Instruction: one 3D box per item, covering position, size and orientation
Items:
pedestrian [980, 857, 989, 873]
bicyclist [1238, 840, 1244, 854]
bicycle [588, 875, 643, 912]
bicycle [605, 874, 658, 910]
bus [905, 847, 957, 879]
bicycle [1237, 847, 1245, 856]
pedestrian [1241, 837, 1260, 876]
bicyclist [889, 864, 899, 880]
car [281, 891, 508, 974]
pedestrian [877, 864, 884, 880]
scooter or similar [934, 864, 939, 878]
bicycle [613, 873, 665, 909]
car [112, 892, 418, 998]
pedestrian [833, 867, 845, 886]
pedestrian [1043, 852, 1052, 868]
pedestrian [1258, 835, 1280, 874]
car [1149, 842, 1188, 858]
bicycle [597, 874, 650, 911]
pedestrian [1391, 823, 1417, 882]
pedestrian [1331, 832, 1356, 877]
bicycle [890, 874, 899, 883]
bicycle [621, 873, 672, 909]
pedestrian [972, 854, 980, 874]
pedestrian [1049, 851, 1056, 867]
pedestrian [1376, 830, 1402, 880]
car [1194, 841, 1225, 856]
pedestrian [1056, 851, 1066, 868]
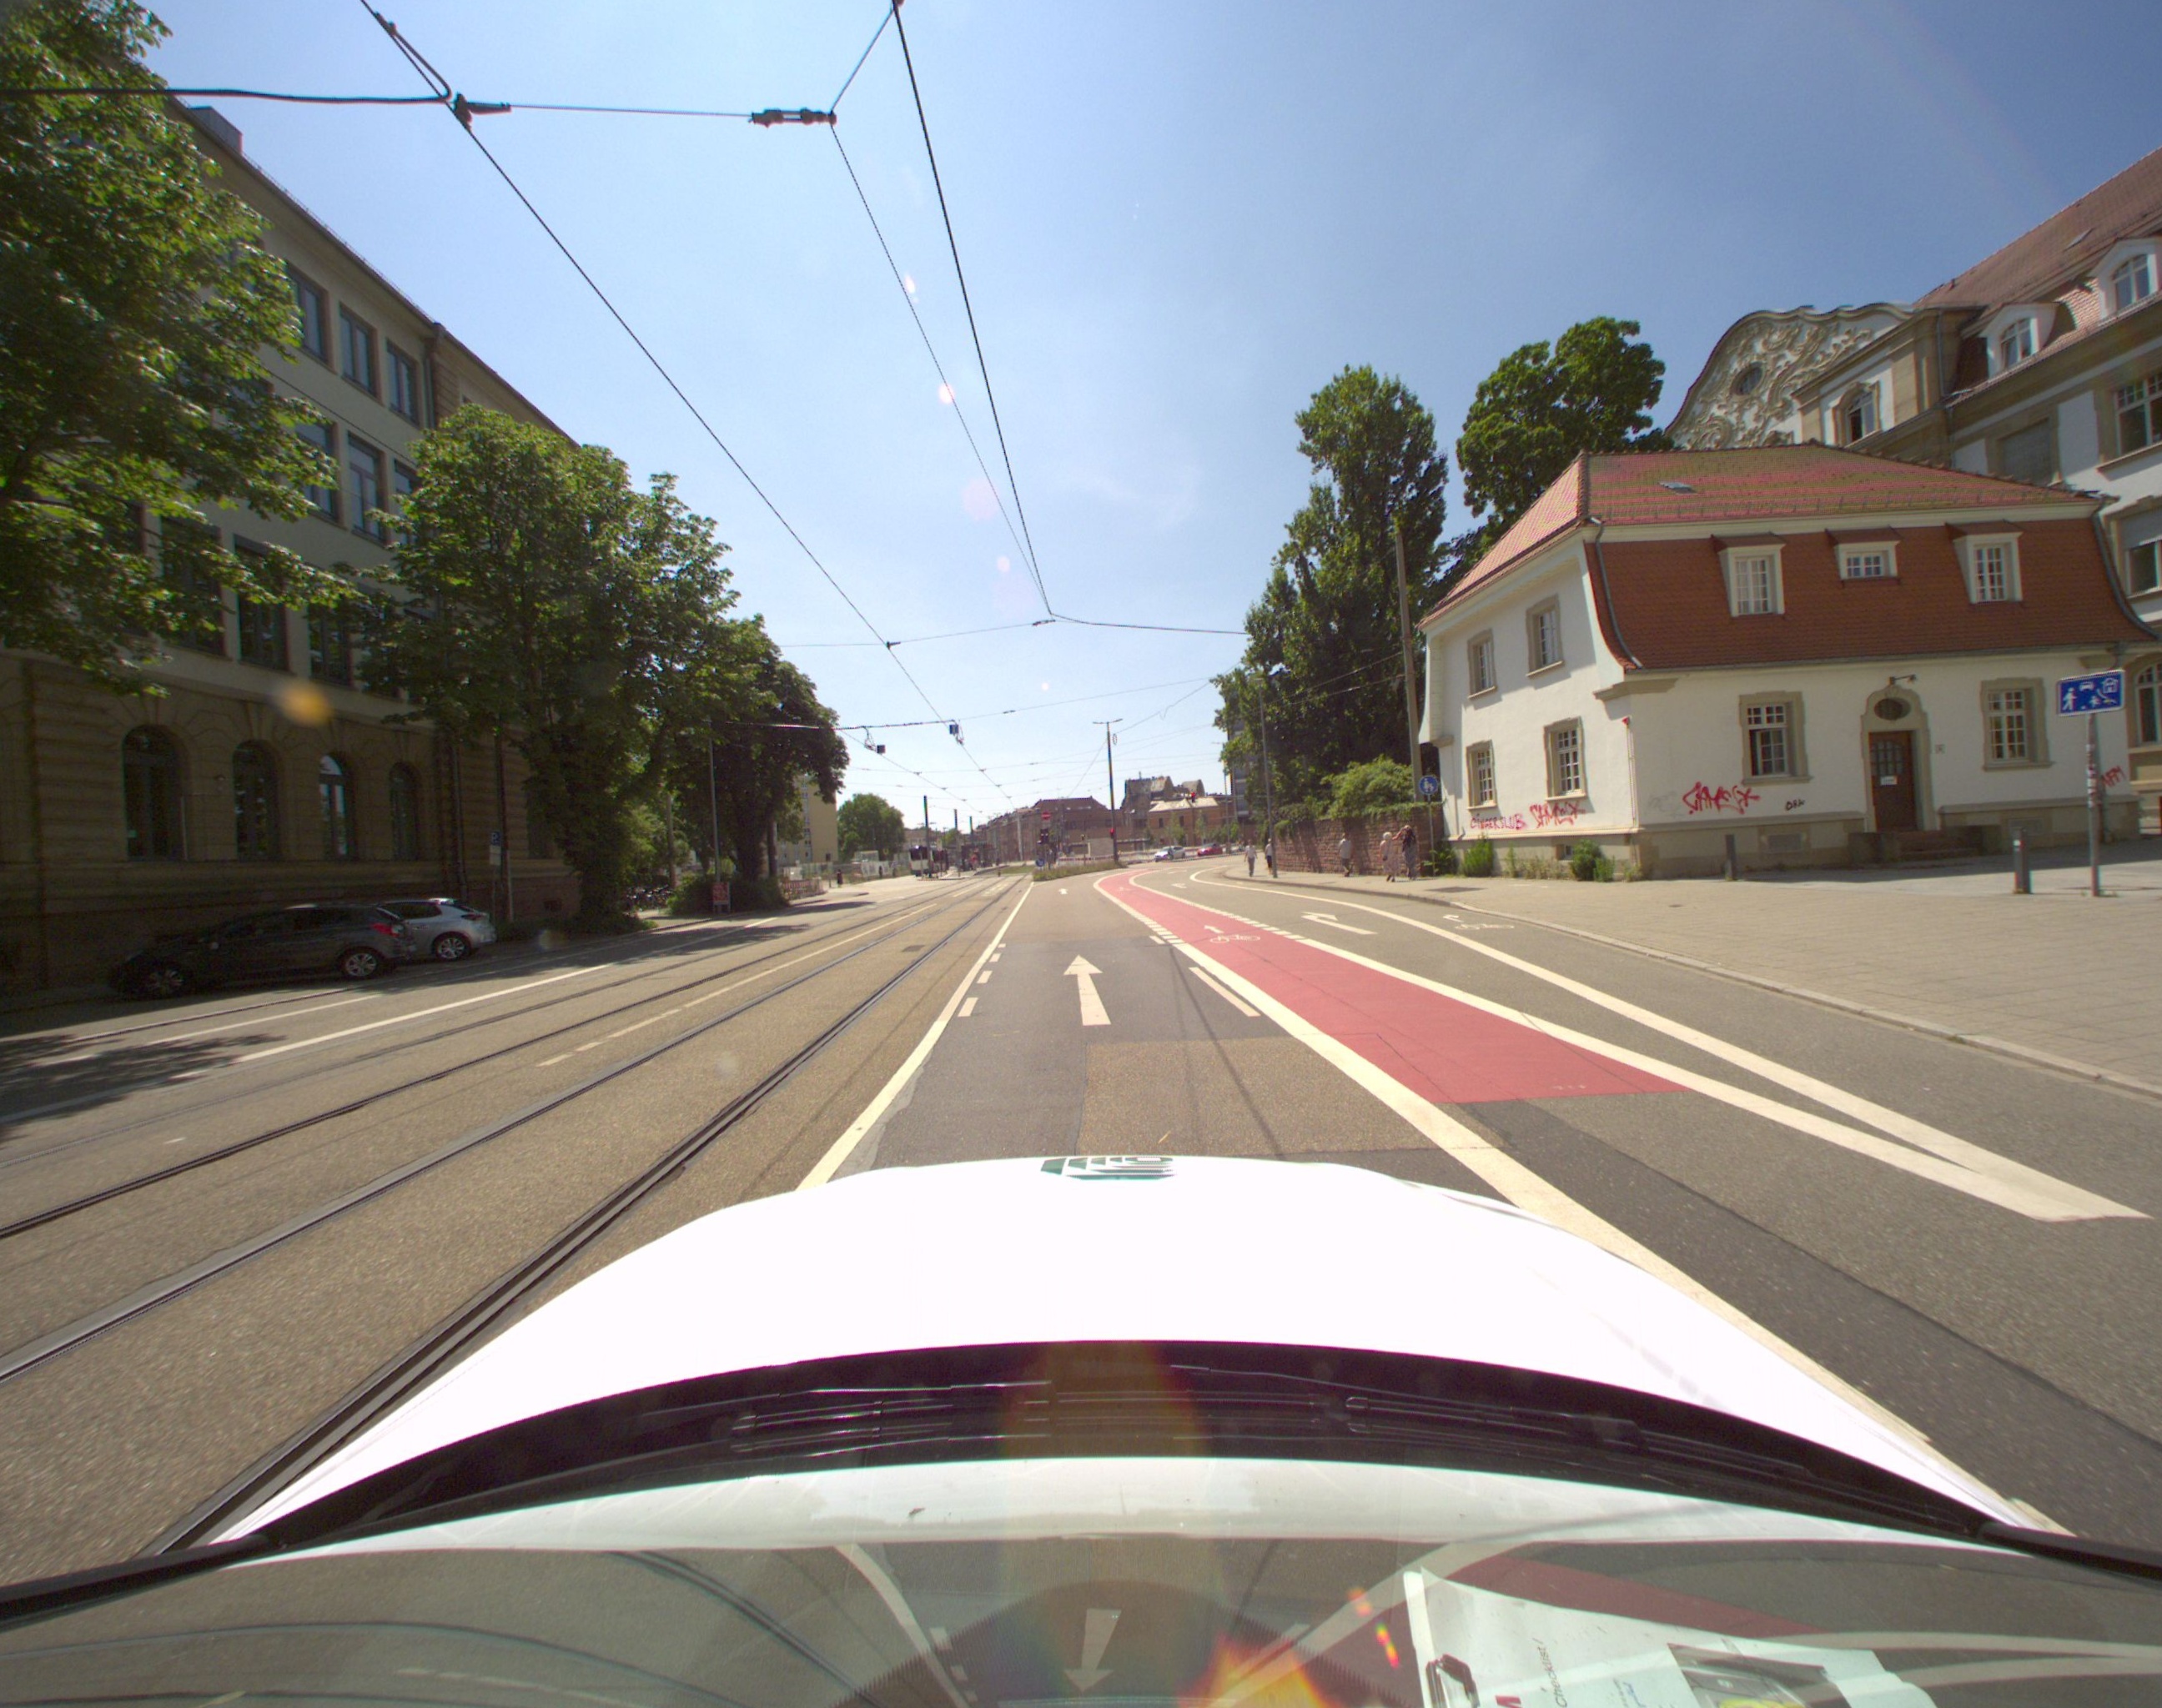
[{"bbox_3d":[-13.407,1.508,113.133,0.895,2.096,0.832,-4,0,2],"label":"pedestrian"},{"bbox_3d":[20.560,-0.915,104.621,0.561,1.719,0.510,-3,-1,29],"label":"bicyclist"},{"bbox_3d":[-22.725,1.920,39.771,2.311,1.692,0.553,-3,-1,3],"label":"bicycle"},{"bbox_3d":[-22.636,1.914,41.001,2.311,1.692,0.553,-3,-1,3],"label":"bicycle"},{"bbox_3d":[-17.168,0.957,94.675,3.002,3.157,17.487,-4,0,-1],"label":"bus"},{"bbox_3d":[20.490,-0.308,104.392,0.394,1.174,1.781,-5,-2,30],"label":"bicycle"},{"bbox_3d":[8.078,0.100,38.884,0.674,1.808,0.748,-4,0,2],"label":"pedestrian"},{"bbox_3d":[-20.301,1.950,88.500,0.819,1.709,0.769,-4,0,-4],"label":"bicyclist"},{"bbox_3d":[-15.031,1.659,18.102,3.561,1.406,1.685,-3,0,-31],"label":"car"},{"bbox_3d":[-21.810,1.910,88.574,0.566,1.705,0.396,-4,0,-10],"label":"pedestrian"},{"bbox_3d":[-12.494,1.448,70.526,0.318,1.206,1.246,-4,0,-7],"label":"scooter or similar"},{"bbox_3d":[-22.581,1.898,41.610,2.311,1.692,0.553,-3,-1,3],"label":"bicycle"},{"bbox_3d":[-14.891,1.590,15.173,3.689,1.520,1.653,-2,-1,-31],"label":"car"},{"bbox_3d":[-21.094,1.984,70.977,0.602,1.602,0.827,-3,-1,6],"label":"pedestrian"},{"bbox_3d":[-3.674,0.633,89.836,0.727,1.706,0.740,-3,-1,-14],"label":"pedestrian"},{"bbox_3d":[8.989,0.007,39.022,0.811,1.808,0.700,-4,0,2],"label":"pedestrian"},{"bbox_3d":[8.874,-0.396,82.379,1.974,1.438,4.735,-4,-1,31],"label":"car"},{"bbox_3d":[-22.674,1.917,40.369,2.311,1.692,0.553,-3,-1,3],"label":"bicycle"},{"bbox_3d":[10.089,-0.031,25.438,0.621,1.774,0.722,-1,-7,32],"label":"pedestrian"},{"bbox_3d":[9.925,0.009,30.815,0.658,1.647,0.625,-4,0,3],"label":"pedestrian"},{"bbox_3d":[-20.258,2.684,88.406,0.502,0.914,2.367,-4,0,-3],"label":"bicycle"},{"bbox_3d":[-22.538,1.907,42.230,2.311,1.692,0.553,-3,-1,3],"label":"bicycle"},{"bbox_3d":[-10.718,1.023,83.300,0.673,1.909,0.638,-4,0,-12],"label":"pedestrian"},{"bbox_3d":[-3.169,0.565,90.813,0.657,1.832,0.757,-3,0,-9],"label":"pedestrian"},{"bbox_3d":[9.669,0.036,25.556,0.513,1.532,0.598,-4,0,3],"label":"pedestrian"},{"bbox_3d":[14.368,-0.607,90.895,1.714,1.425,4.151,-4,-1,34],"label":"car"},{"bbox_3d":[-2.233,0.615,92.774,0.771,1.864,0.721,-2,-1,-43],"label":"pedestrian"}]
